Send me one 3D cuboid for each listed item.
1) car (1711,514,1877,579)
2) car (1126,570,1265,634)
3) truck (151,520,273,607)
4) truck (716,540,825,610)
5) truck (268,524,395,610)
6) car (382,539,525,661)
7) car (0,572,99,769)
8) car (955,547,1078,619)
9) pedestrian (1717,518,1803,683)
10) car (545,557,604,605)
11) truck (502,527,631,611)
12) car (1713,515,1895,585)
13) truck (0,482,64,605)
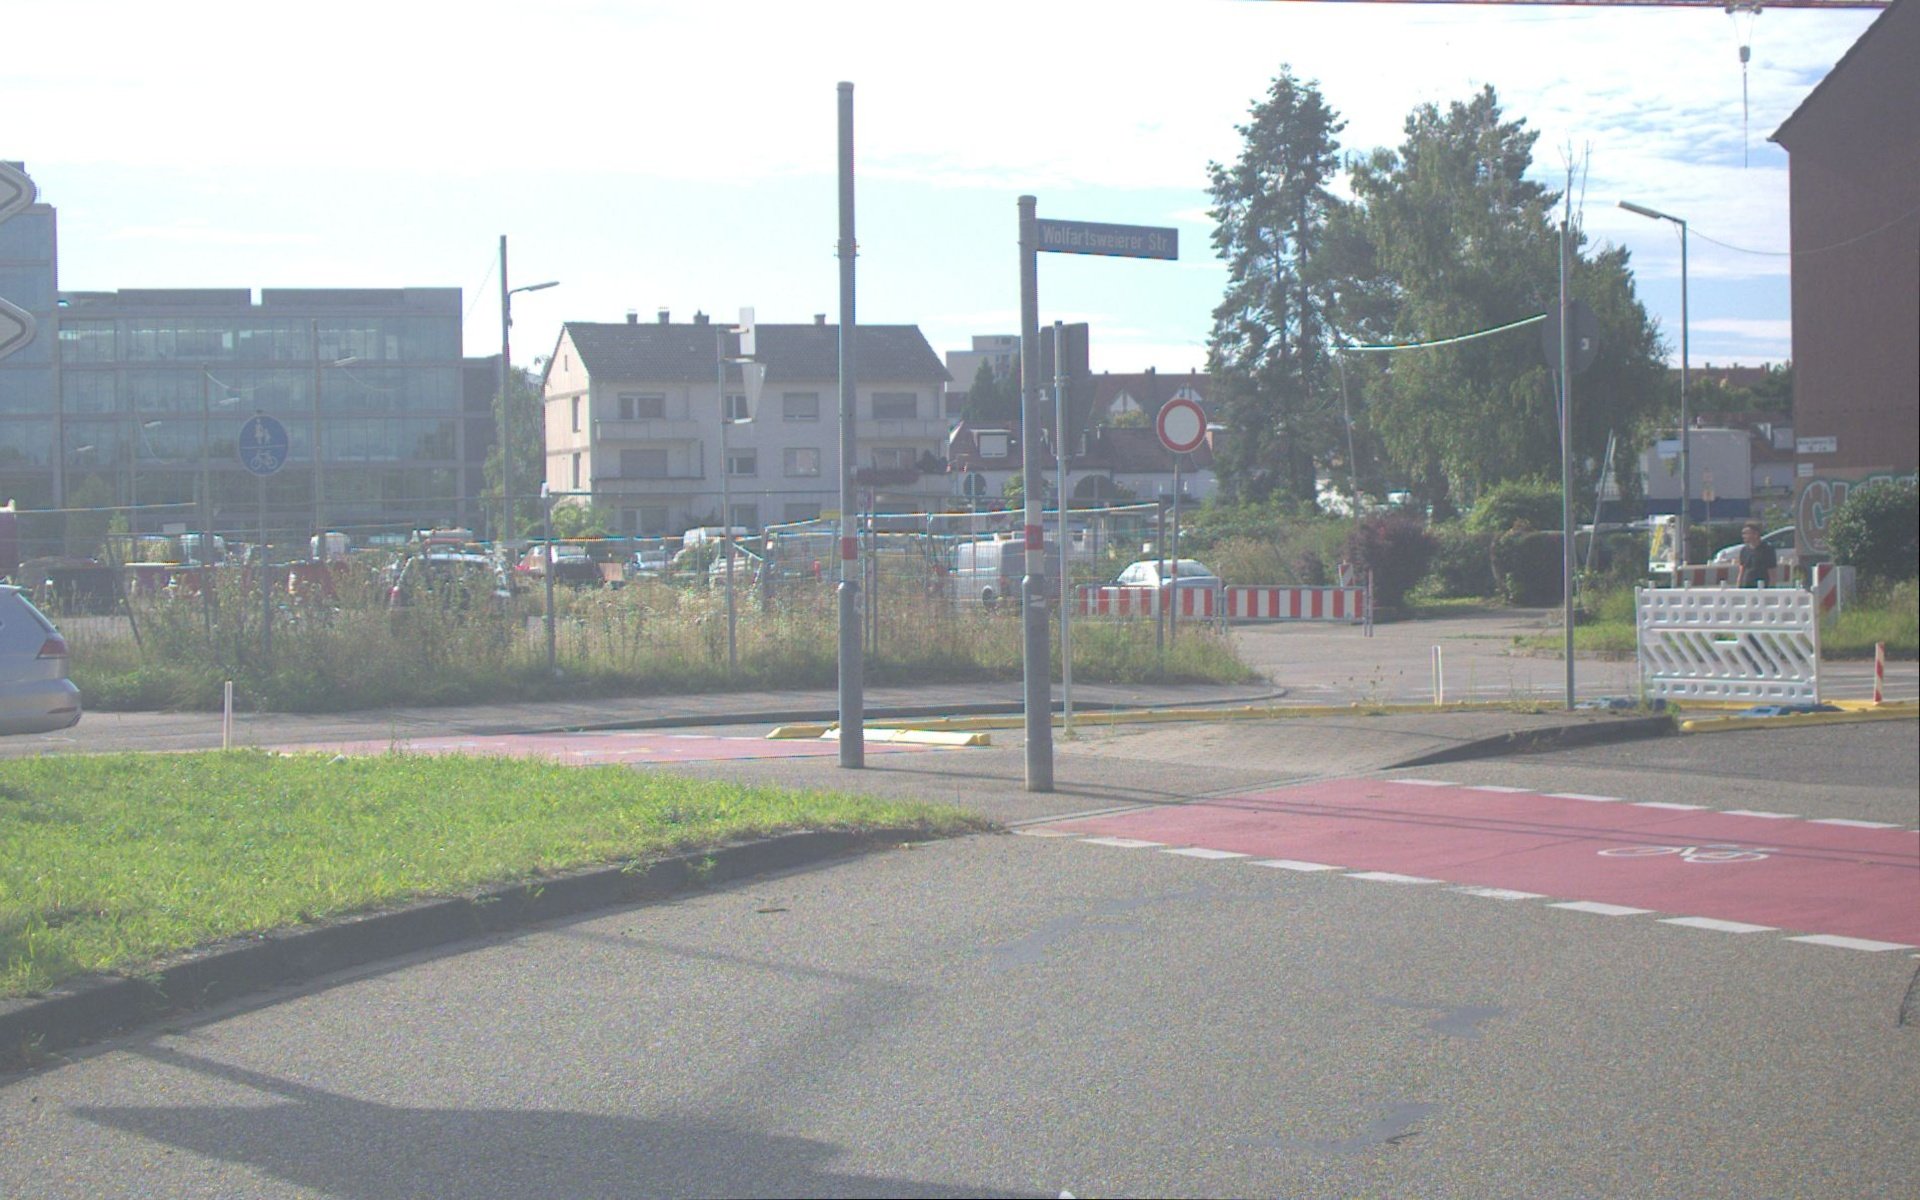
[{"bbox_3d":[21.120,-1.359,87.158,3.988,1.612,1.772,0,1,10],"label":"car"},{"bbox_3d":[5.367,0.026,78.803,1.715,1.388,4.001,-1,1,-20],"label":"car"},{"bbox_3d":[-20.718,-1.033,95.003,2.327,2.320,6.455,-1,1,-21],"label":"truck"},{"bbox_3d":[-6.047,-0.808,109.169,1.974,2.164,5.407,-1,1,-20],"label":"truck"},{"bbox_3d":[-17.664,-0.951,96.370,2.327,2.320,6.455,-1,1,-21],"label":"truck"},{"bbox_3d":[-7.864,-0.029,53.627,1.879,1.809,4.001,-1,1,-4],"label":"car"},{"bbox_3d":[-8.899,0.543,25.795,4.526,1.447,1.824,-1,1,-22],"label":"car"},{"bbox_3d":[1.439,-0.449,89.357,1.879,1.809,4.001,-1,1,-20],"label":"car"},{"bbox_3d":[9.170,-0.003,39.394,0.668,1.864,0.833,0,1,38],"label":"pedestrian"},{"bbox_3d":[-15.390,-0.759,137.155,1.993,1.853,4.001,-1,1,-11],"label":"car"},{"bbox_3d":[-11.260,-0.901,98.050,2.285,2.320,5.640,-1,1,-21],"label":"truck"},{"bbox_3d":[20.007,-1.175,81.461,3.991,1.612,1.771,0,1,21],"label":"car"},{"bbox_3d":[-26.044,-1.514,92.723,2.807,3.196,7.318,-1,1,-21],"label":"truck"}]
